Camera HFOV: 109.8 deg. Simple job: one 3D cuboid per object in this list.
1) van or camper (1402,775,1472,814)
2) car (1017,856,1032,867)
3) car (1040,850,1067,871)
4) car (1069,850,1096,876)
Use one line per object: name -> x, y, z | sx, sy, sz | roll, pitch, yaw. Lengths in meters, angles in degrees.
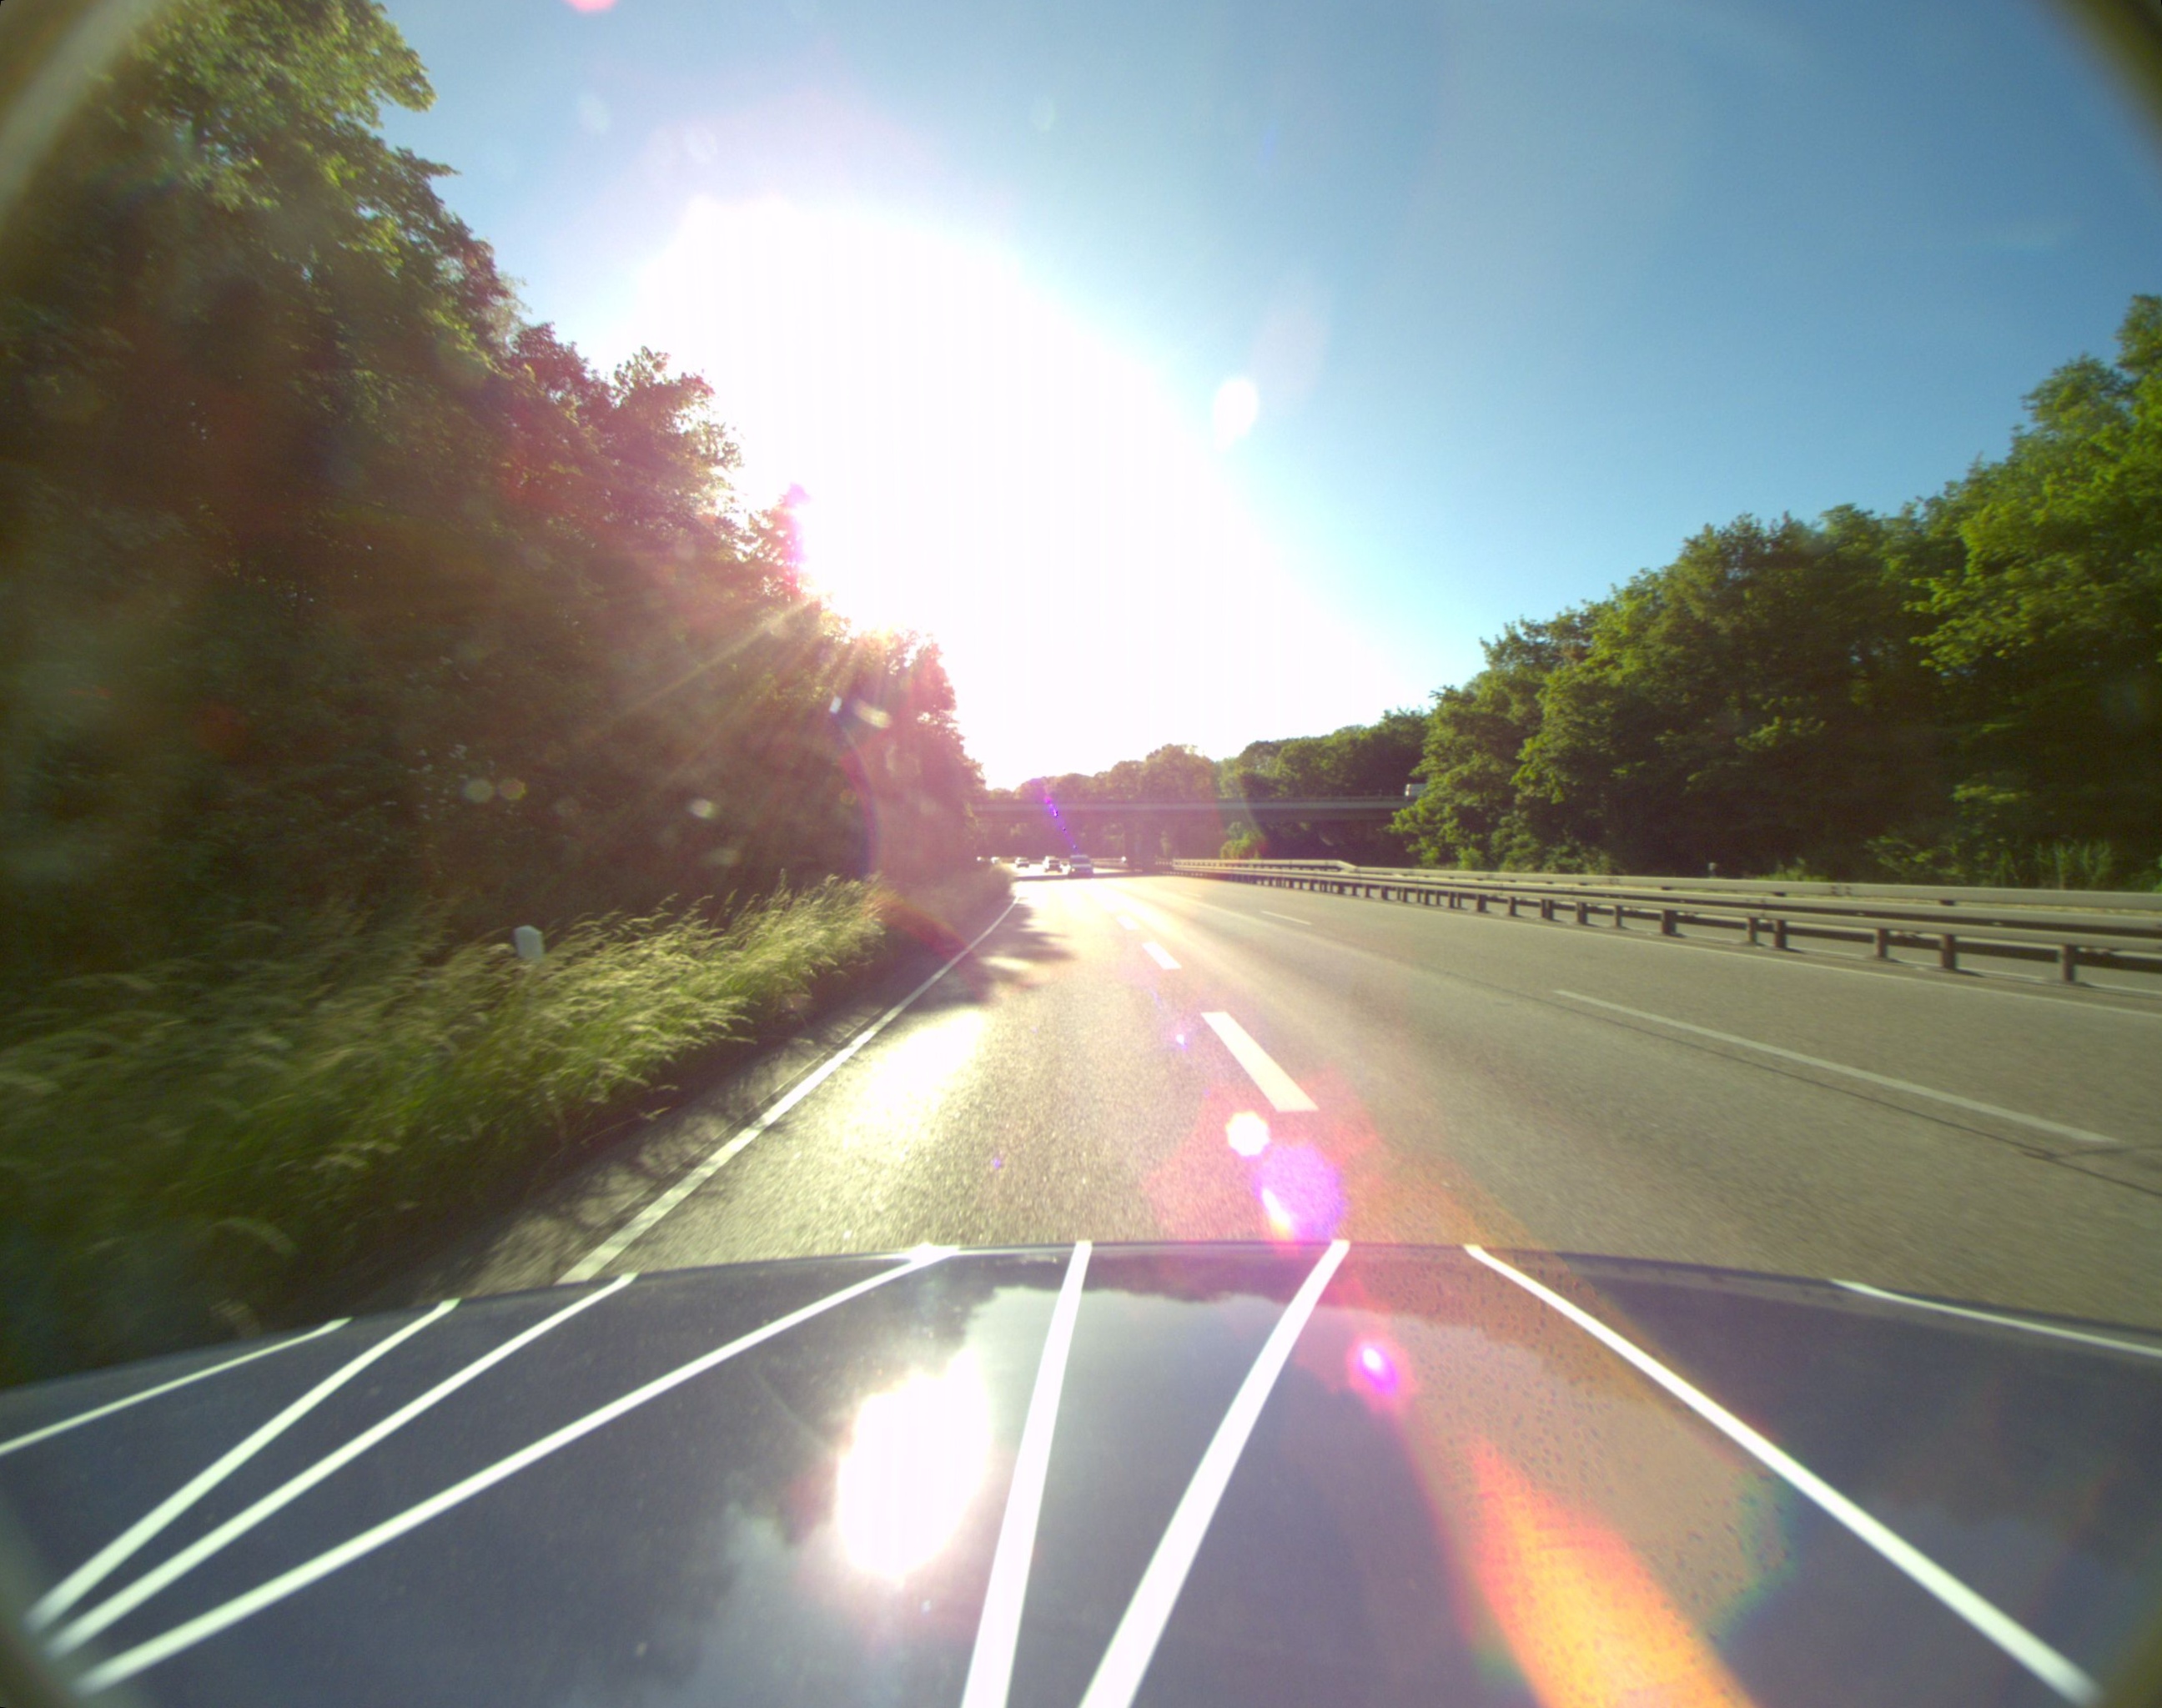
van or camper -> 31.476, -5.271, 67.402 | 5.448, 3.165, 2.001 | -1, 5, 19
car -> -8.493, 1.172, 114.288 | 1.935, 1.499, 5.082 | -1, 1, -7
car -> -2.960, 0.662, 81.000 | 2.258, 1.843, 5.135 | -2, 3, -9
car -> 0.078, 0.688, 59.494 | 1.800, 1.797, 4.831 | -2, 1, -2
